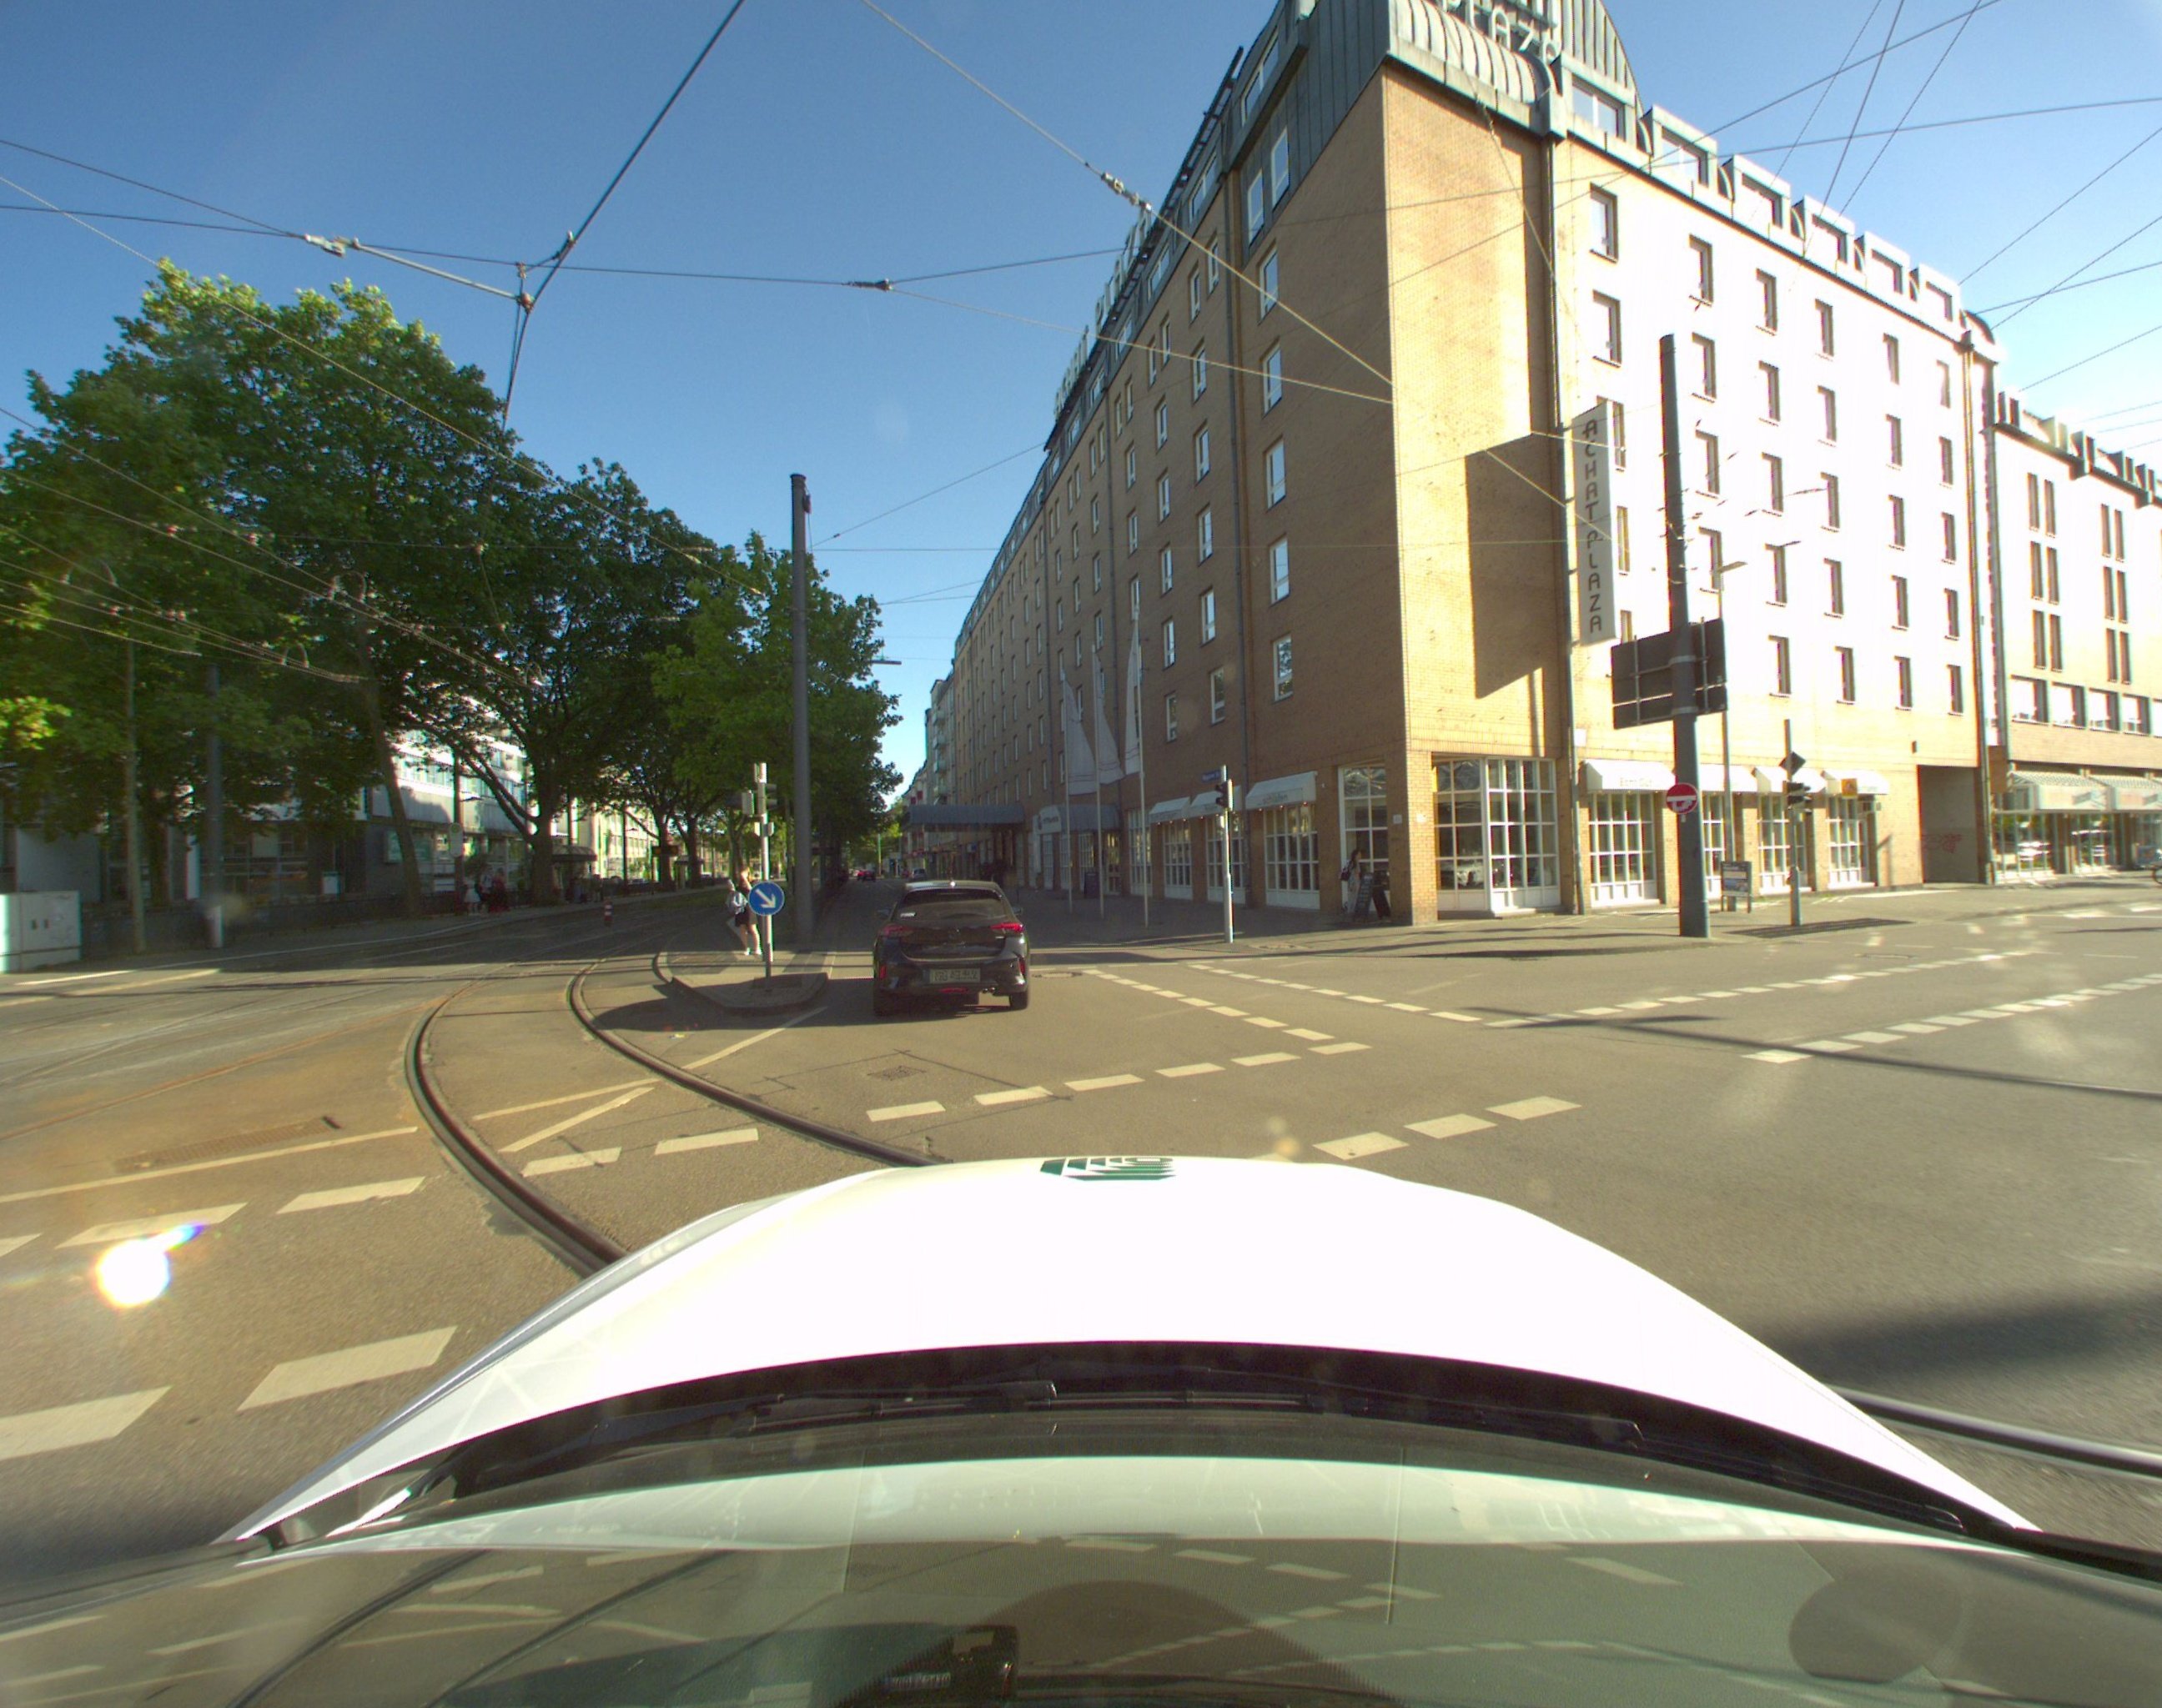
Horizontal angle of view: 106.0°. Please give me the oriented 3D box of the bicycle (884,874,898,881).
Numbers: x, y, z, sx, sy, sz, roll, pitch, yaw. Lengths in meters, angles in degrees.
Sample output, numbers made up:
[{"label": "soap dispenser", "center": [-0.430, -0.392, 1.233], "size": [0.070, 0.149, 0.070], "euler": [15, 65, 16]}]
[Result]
[{"label": "bicycle", "center": [-31.528, 3.898, 135.193], "size": [2.359, 1.234, 0.680], "euler": [-1, -1, -14]}]

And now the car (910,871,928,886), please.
[{"label": "car", "center": [-17.944, 2.673, 90.215], "size": [1.675, 1.652, 3.671], "euler": [0, -1, -15]}]

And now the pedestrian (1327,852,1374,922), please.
[{"label": "pedestrian", "center": [6.608, 0.801, 19.992], "size": [0.741, 1.666, 0.748], "euler": [-1, -1, -21]}]

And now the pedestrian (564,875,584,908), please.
[{"label": "pedestrian", "center": [-25.402, 1.876, 40.819], "size": [0.479, 1.573, 0.676], "euler": [0, 0, 27]}]

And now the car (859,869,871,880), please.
[{"label": "car", "center": [-31.960, 3.008, 120.692], "size": [1.617, 1.502, 3.669], "euler": [0, -1, -16]}]

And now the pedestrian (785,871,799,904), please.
[{"label": "pedestrian", "center": [-14.842, 1.726, 41.830], "size": [0.605, 1.680, 0.484], "euler": [-2, -1, -16]}]

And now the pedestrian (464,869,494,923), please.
[{"label": "pedestrian", "center": [-20.961, 1.456, 28.372], "size": [0.636, 1.829, 0.739], "euler": [0, -1, -21]}]

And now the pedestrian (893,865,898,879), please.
[{"label": "pedestrian", "center": [-40.721, 3.955, 178.529], "size": [0.919, 2.872, 1.144], "euler": [0, -1, -17]}]

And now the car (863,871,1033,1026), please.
[{"label": "car", "center": [-1.584, 0.991, 10.124], "size": [1.671, 1.502, 3.680], "euler": [-2, -1, -8]}]

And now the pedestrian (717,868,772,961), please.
[{"label": "pedestrian", "center": [-6.368, 1.123, 15.445], "size": [0.713, 1.680, 0.829], "euler": [-2, -1, -8]}]

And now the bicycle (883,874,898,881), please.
[{"label": "bicycle", "center": [-31.266, 3.844, 133.449], "size": [2.359, 1.234, 0.680], "euler": [-1, -1, -14]}]

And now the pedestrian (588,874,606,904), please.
[{"label": "pedestrian", "center": [-25.919, 1.857, 43.597], "size": [0.562, 1.573, 0.638], "euler": [0, 0, -4]}]

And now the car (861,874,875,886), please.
[{"label": "car", "center": [-26.635, 3.253, 101.677], "size": [1.617, 1.502, 3.669], "euler": [0, -1, -16]}]

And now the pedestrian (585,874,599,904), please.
[{"label": "pedestrian", "center": [-25.837, 1.852, 43.010], "size": [0.501, 1.573, 0.492], "euler": [0, 0, -12]}]

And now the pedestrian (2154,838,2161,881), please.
[{"label": "pedestrian", "center": [44.721, 0.216, 33.363], "size": [0.566, 1.764, 0.713], "euler": [-1, -2, -21]}]

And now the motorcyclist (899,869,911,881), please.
[{"label": "motorcyclist", "center": [-26.505, 3.159, 122.416], "size": [1.221, 1.698, 1.316], "euler": [-2, -2, 44]}]

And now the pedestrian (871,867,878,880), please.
[{"label": "pedestrian", "center": [-46.811, 4.361, 184.610], "size": [0.908, 2.872, 1.157], "euler": [-3, -2, 41]}]

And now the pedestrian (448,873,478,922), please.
[{"label": "pedestrian", "center": [-23.548, 1.646, 31.037], "size": [0.589, 1.800, 0.744], "euler": [-1, -1, 0]}]

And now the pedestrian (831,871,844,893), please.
[{"label": "pedestrian", "center": [-15.770, 1.797, 52.731], "size": [0.724, 1.445, 0.622], "euler": [0, -1, -20]}]

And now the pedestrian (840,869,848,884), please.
[{"label": "pedestrian", "center": [-22.431, 2.144, 77.089], "size": [0.724, 1.445, 0.622], "euler": [0, -1, -19]}]

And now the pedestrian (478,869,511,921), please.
[{"label": "pedestrian", "center": [-21.089, 1.469, 29.285], "size": [0.586, 1.829, 0.748], "euler": [-1, -1, 15]}]

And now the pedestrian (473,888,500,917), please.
[{"label": "pedestrian", "center": [-25.146, 2.038, 34.446], "size": [0.589, 1.164, 0.744], "euler": [-1, -1, 0]}]

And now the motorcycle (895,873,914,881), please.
[{"label": "motorcycle", "center": [-26.572, 3.468, 122.483], "size": [3.059, 1.058, 1.316], "euler": [-2, -1, 44]}]
